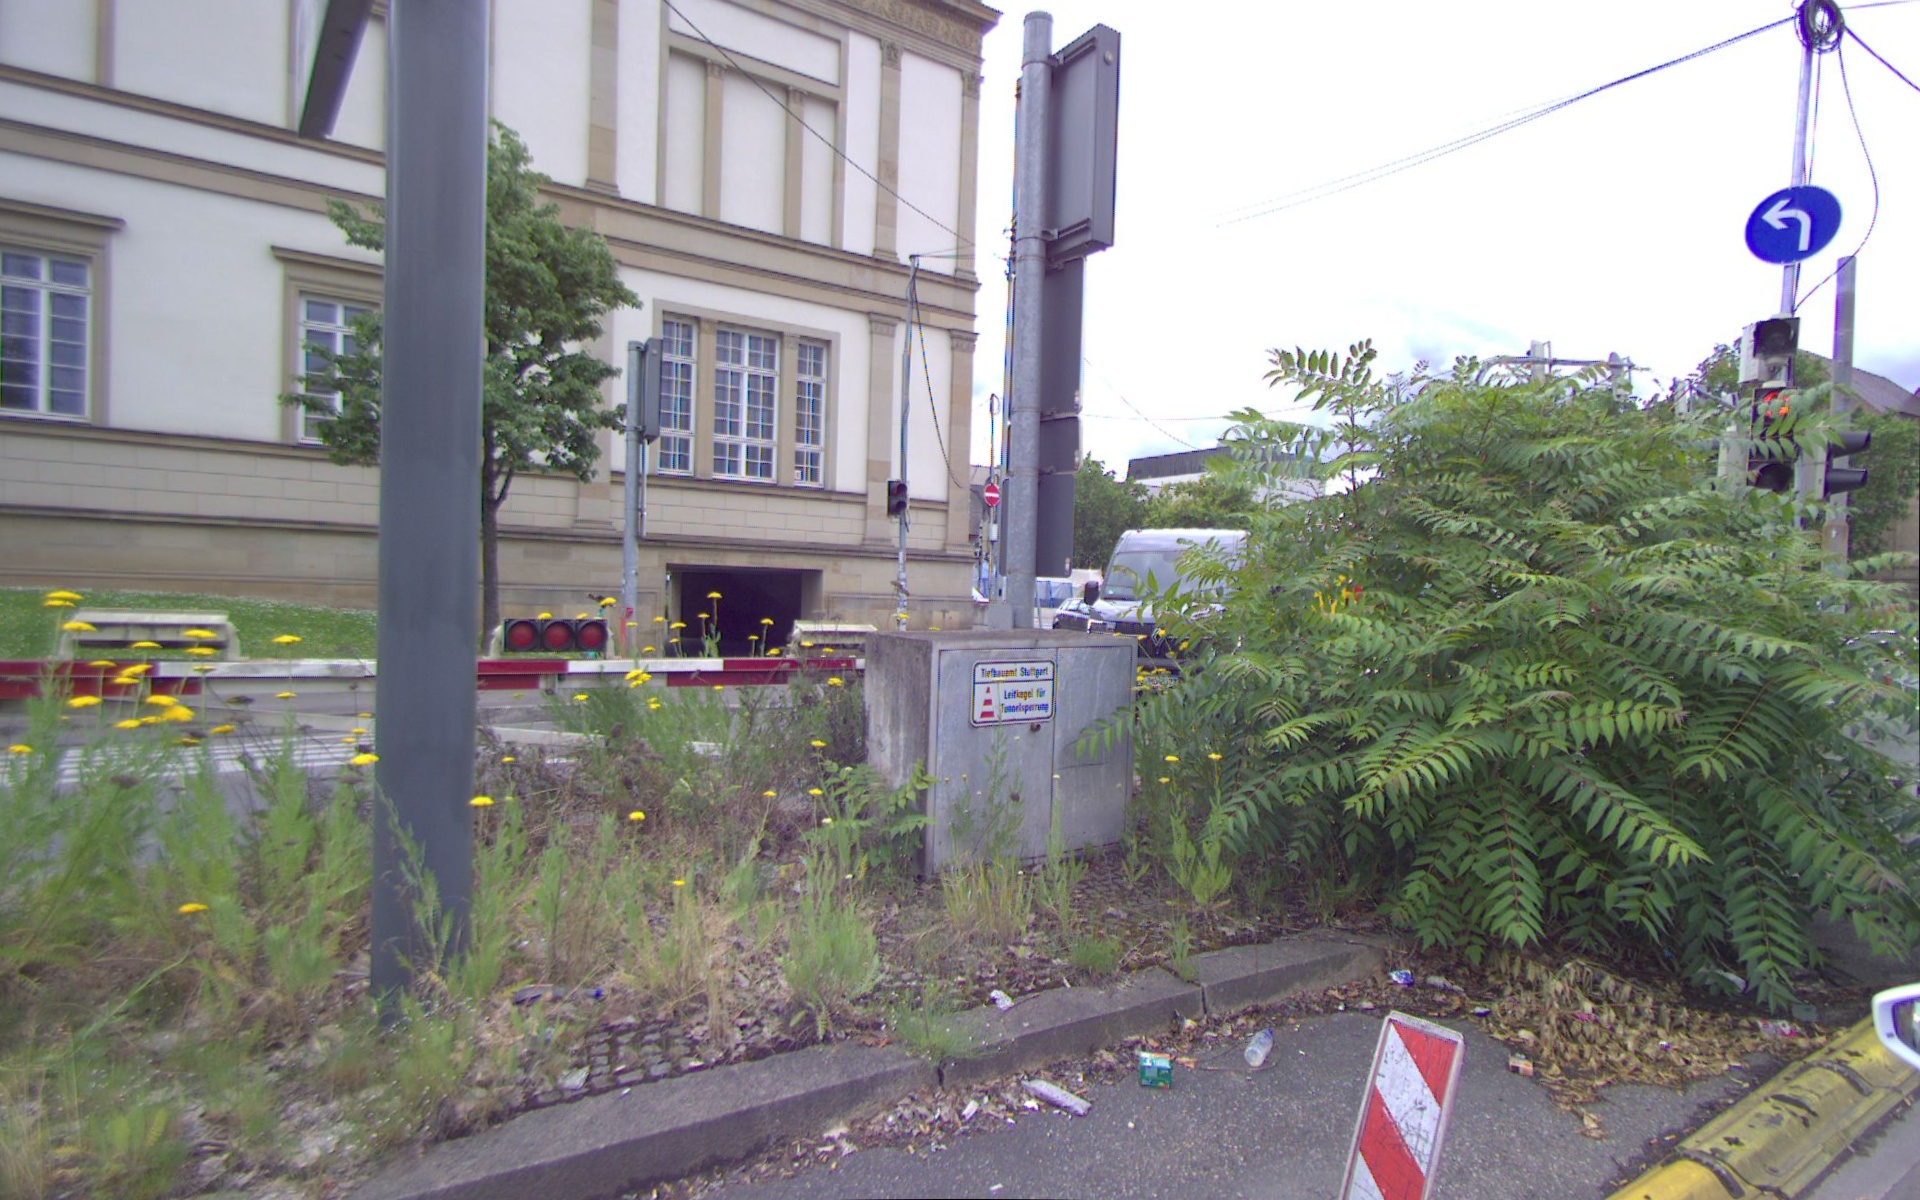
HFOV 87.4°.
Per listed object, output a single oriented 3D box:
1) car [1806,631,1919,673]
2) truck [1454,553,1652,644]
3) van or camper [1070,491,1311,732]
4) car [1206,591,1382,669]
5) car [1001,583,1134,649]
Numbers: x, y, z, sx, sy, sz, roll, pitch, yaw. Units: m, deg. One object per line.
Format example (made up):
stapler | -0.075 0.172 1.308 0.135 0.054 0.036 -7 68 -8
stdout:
car | 43.266 2.452 47.712 4.526 1.747 1.901 2 0 37
truck | 35.123 -0.107 59.903 3.092 5.026 9.622 2 0 -43
van or camper | 3.541 0.119 14.230 2.118 2.645 6.079 1 0 24
car | 8.206 0.692 25.029 1.886 1.763 3.972 2 0 -27
car | 3.136 0.445 30.061 1.889 1.763 3.964 2 1 -32
